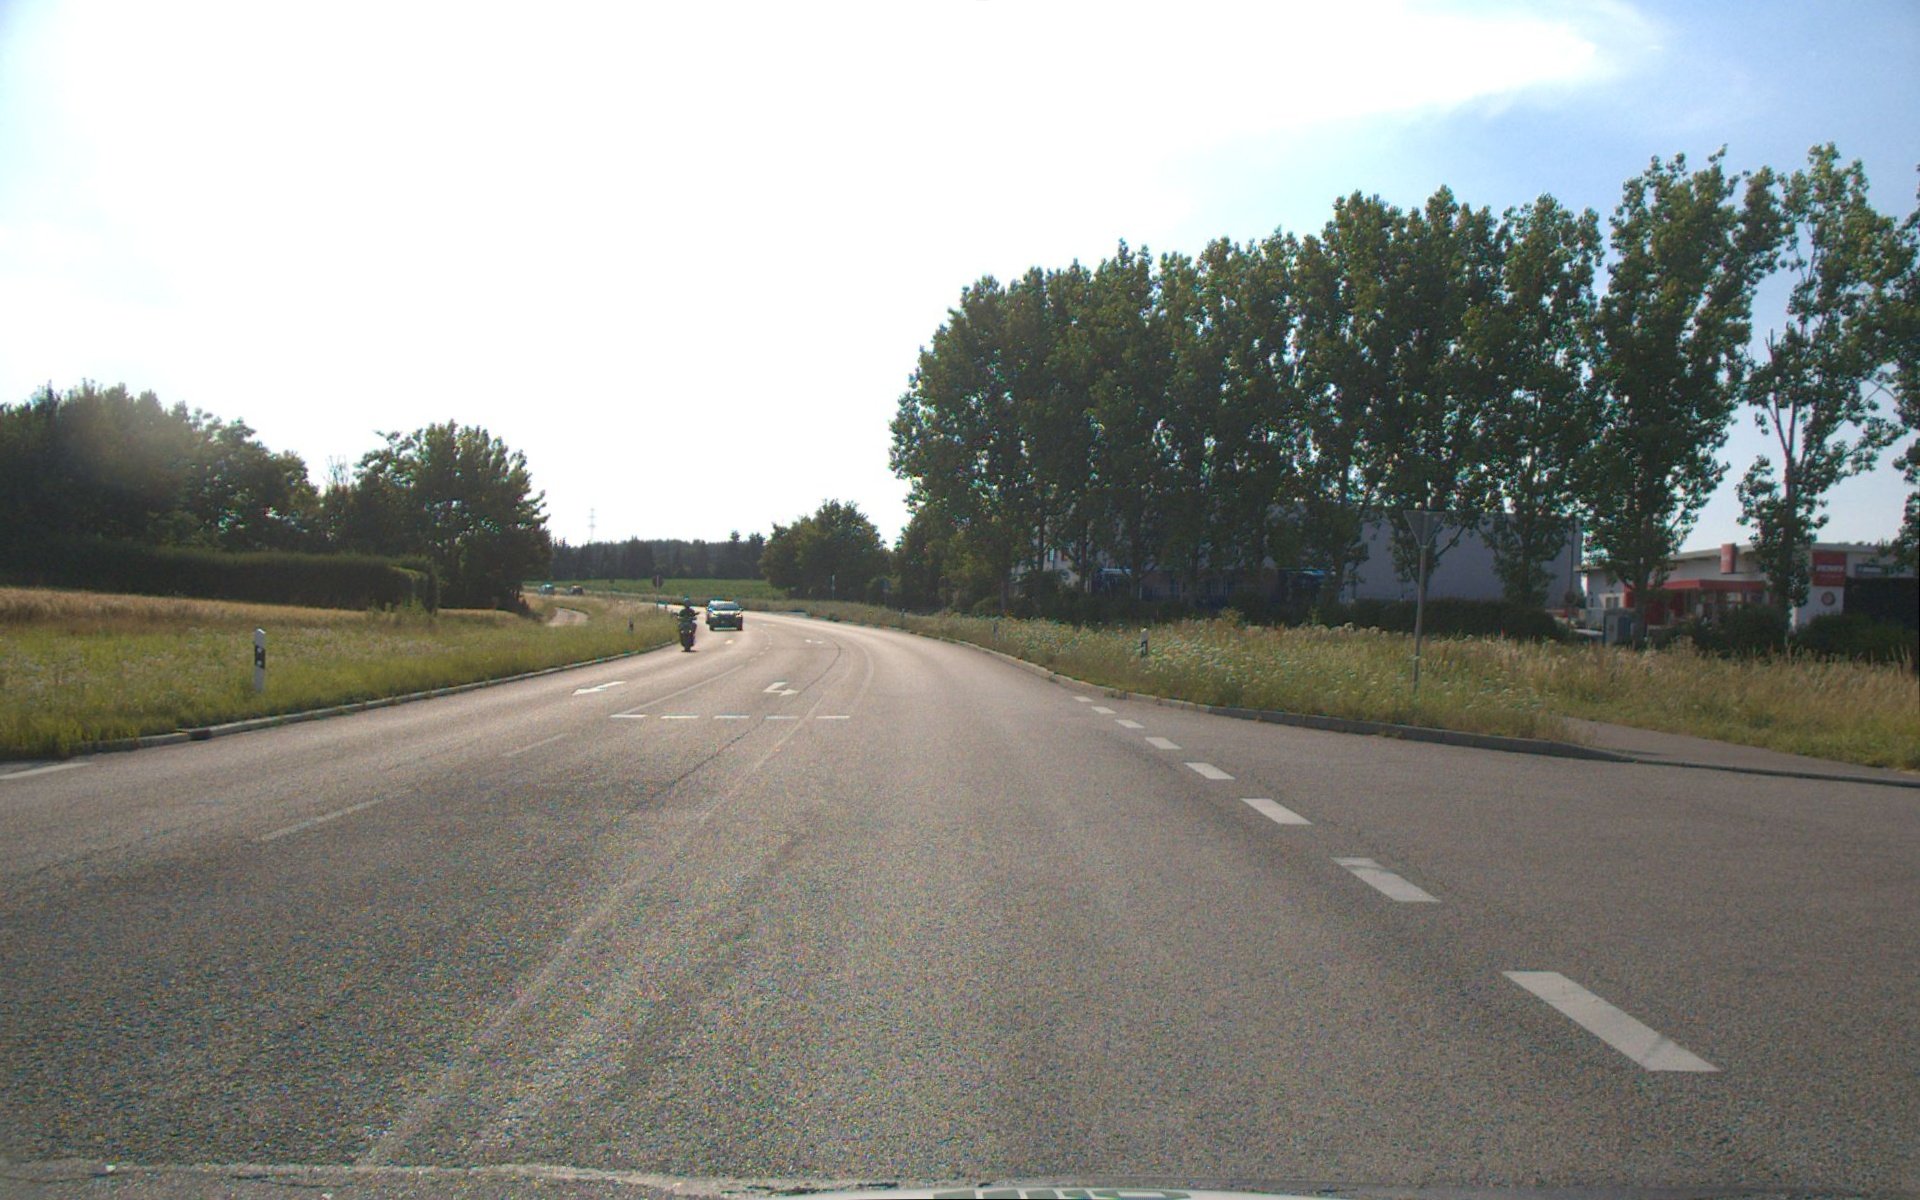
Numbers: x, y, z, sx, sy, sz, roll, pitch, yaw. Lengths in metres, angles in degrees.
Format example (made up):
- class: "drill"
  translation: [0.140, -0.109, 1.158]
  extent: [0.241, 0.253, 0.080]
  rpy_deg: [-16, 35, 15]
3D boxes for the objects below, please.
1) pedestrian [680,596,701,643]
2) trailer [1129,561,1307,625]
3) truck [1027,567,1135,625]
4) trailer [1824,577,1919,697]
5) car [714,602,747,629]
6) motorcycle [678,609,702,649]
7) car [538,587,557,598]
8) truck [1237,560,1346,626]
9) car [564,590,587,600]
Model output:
- class: "pedestrian"
  translation: [-8.932, 0.642, 54.843]
  extent: [0.555, 1.531, 0.864]
  rpy_deg: [3, -1, -6]
- class: "trailer"
  translation: [14.310, -0.294, 93.553]
  extent: [2.652, 3.196, 13.150]
  rpy_deg: [5, -3, -27]
- class: "truck"
  translation: [7.739, -0.280, 107.459]
  extent: [2.480, 3.435, 9.608]
  rpy_deg: [5, -1, -25]
- class: "trailer"
  translation: [34.213, 1.337, 52.236]
  extent: [2.215, 3.983, 13.614]
  rpy_deg: [5, -1, -25]
- class: "car"
  translation: [-12.421, 0.823, 89.767]
  extent: [1.652, 1.372, 3.994]
  rpy_deg: [1, 0, -7]
- class: "motorcycle"
  translation: [-8.950, 0.943, 54.805]
  extent: [0.574, 1.282, 2.118]
  rpy_deg: [3, 0, -6]
- class: "car"
  translation: [-57.558, -1.079, 230.794]
  extent: [1.828, 1.432, 3.613]
  rpy_deg: [5, -1, -26]
- class: "truck"
  translation: [17.451, -0.343, 87.405]
  extent: [2.590, 3.217, 5.657]
  rpy_deg: [5, -3, -28]
- class: "car"
  translation: [-50.064, -0.649, 215.253]
  extent: [1.944, 1.171, 3.834]
  rpy_deg: [5, -1, -26]
